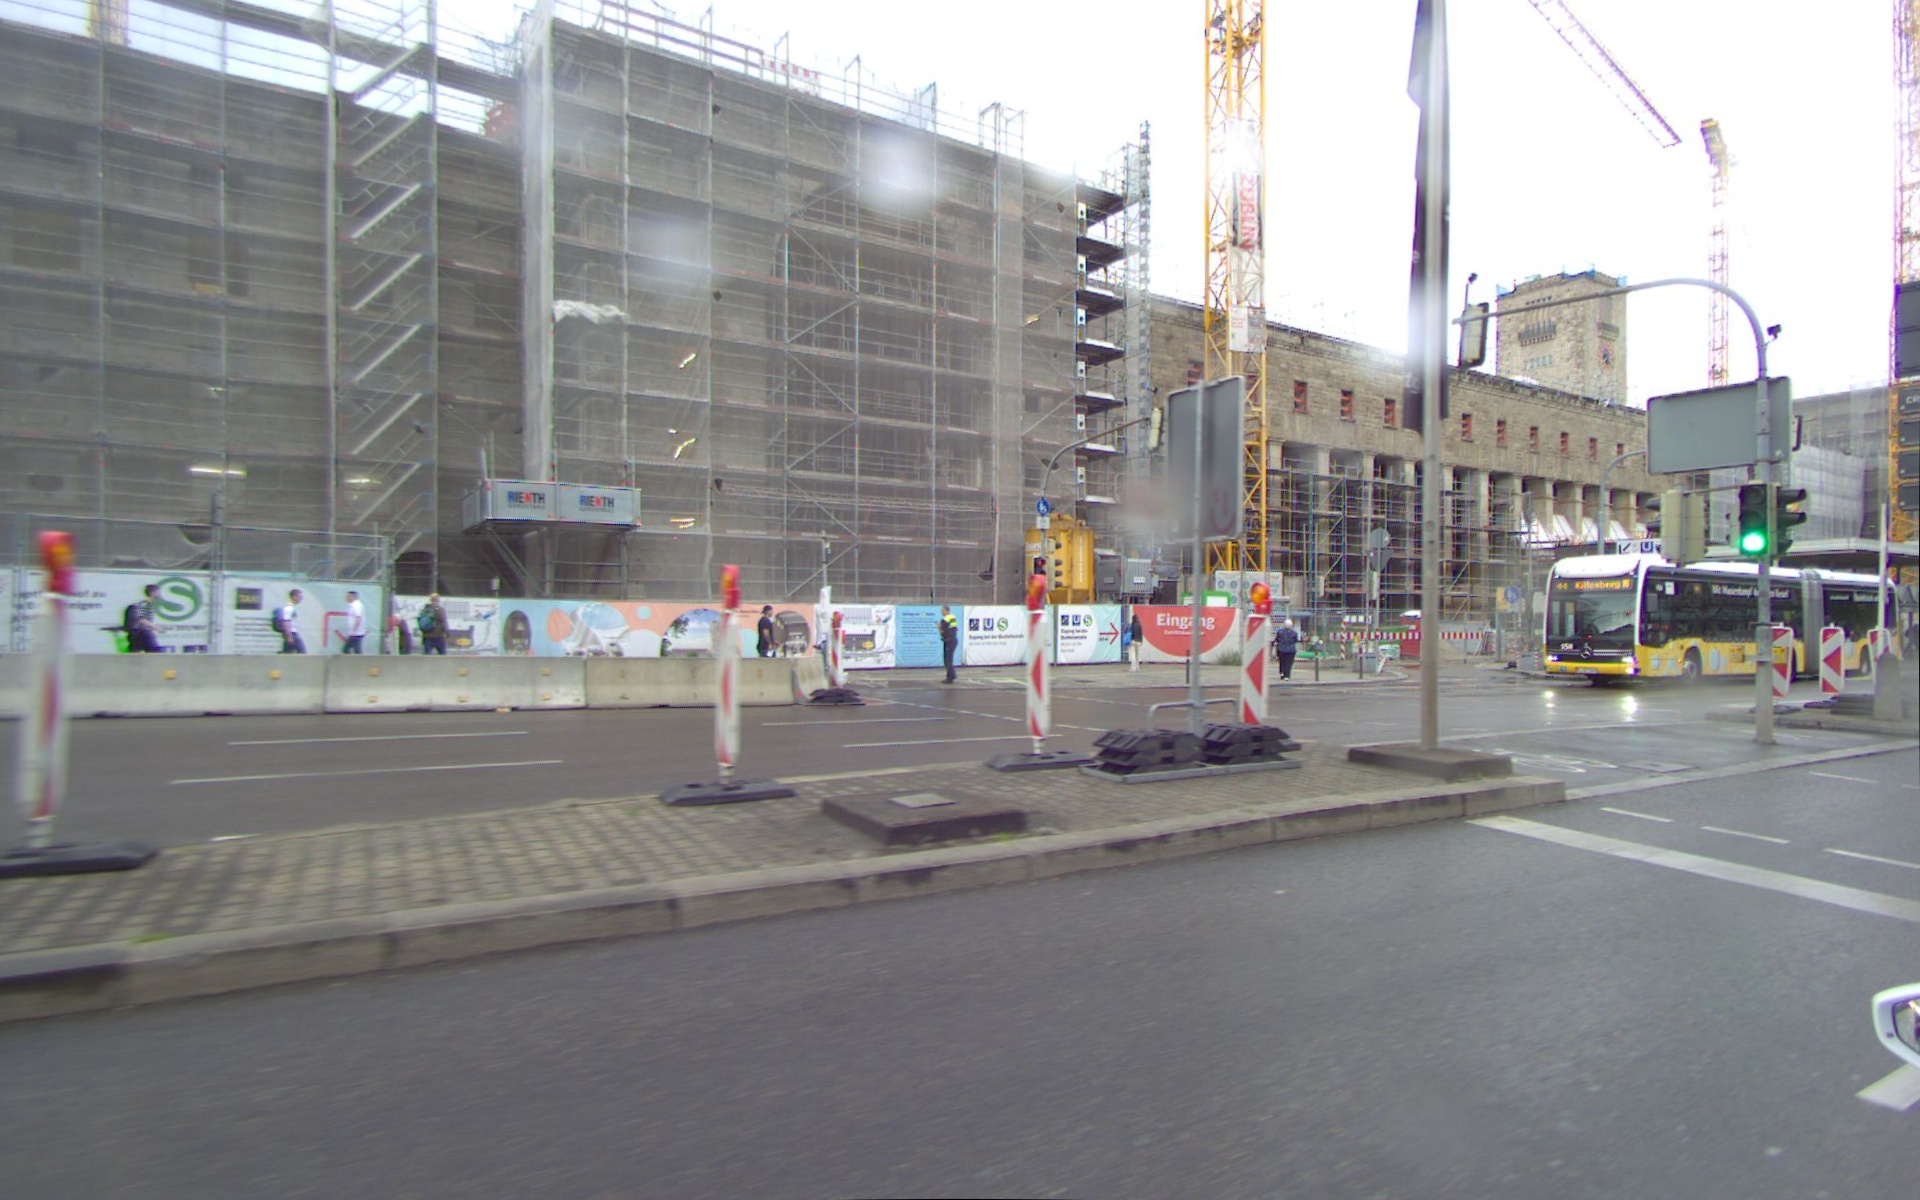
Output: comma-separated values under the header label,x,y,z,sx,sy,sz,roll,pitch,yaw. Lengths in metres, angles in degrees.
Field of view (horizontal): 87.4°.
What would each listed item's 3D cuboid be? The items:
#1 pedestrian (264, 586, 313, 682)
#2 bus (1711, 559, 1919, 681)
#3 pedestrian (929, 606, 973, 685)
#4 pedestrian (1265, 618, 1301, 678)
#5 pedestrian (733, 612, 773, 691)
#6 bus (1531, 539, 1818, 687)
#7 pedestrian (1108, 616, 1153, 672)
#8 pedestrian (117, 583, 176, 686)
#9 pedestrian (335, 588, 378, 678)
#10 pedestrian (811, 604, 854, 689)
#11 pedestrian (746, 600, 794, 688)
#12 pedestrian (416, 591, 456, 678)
label,x,y,z,sx,sy,sz,roll,pitch,yaw
pedestrian,-13.191,0.666,19.751,0.709,1.860,0.478,2,0,-30
bus,29.193,0.741,33.686,10.092,3.650,2.655,2,0,-30
pedestrian,-0.217,1.096,24.283,0.810,1.860,0.575,2,0,-30
pedestrian,8.761,1.284,27.217,0.772,1.581,0.874,2,0,25
pedestrian,-4.670,1.147,22.645,0.613,1.740,0.794,2,-2,-33
bus,20.433,0.480,28.435,10.120,3.650,2.655,2,0,-30
pedestrian,5.081,1.306,29.956,0.890,1.584,0.909,2,0,-33
pedestrian,-15.047,0.635,18.589,0.709,1.860,0.583,2,0,-30
pedestrian,-12.703,0.688,21.158,0.709,1.860,0.478,2,0,-30
pedestrian,-2.950,1.060,23.241,0.614,1.915,0.792,2,0,-38
pedestrian,-4.084,0.939,21.622,0.810,1.860,0.575,2,0,-30
pedestrian,-11.347,0.742,21.759,0.709,1.860,0.478,2,0,-30
